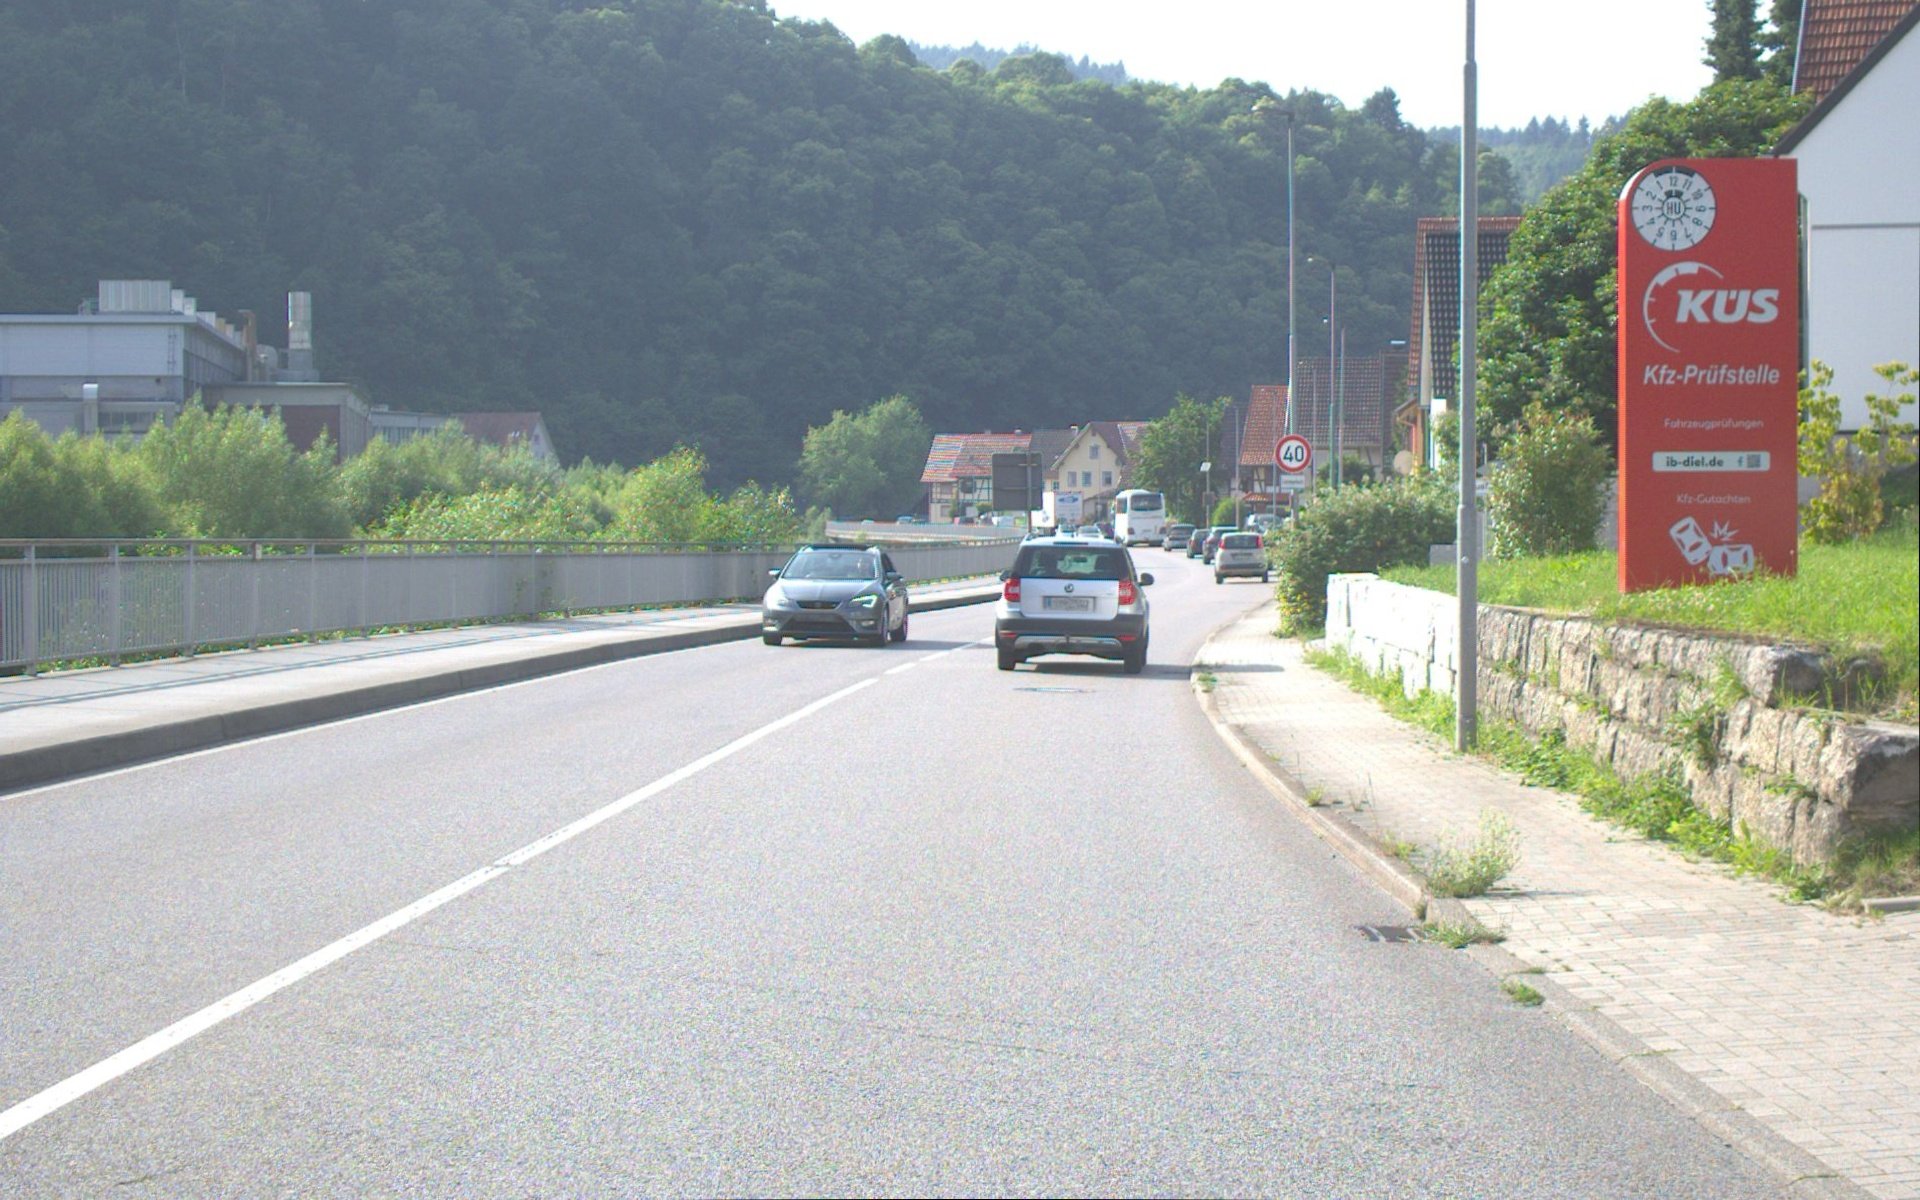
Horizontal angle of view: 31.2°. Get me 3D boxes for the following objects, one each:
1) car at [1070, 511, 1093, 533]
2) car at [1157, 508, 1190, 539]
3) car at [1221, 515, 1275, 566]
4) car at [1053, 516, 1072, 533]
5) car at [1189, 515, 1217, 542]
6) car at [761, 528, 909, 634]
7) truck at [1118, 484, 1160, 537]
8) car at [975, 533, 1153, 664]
[{"bbox_3d":[7.984,-5.152,226.224,1.433,1.379,3.135,0,2,1],"label":"car"},{"bbox_3d":[12.222,-4.389,196.693,1.674,1.746,3.447,0,2,7],"label":"car"},{"bbox_3d":[8.969,-1.840,107.078,1.622,1.536,3.277,0,0,6],"label":"car"},{"bbox_3d":[7.632,-5.624,255.992,1.364,1.273,3.083,0,0,3],"label":"car"},{"bbox_3d":[12.064,-3.543,170.506,1.364,1.273,3.082,0,0,4],"label":"car"},{"bbox_3d":[-1.792,-0.287,50.776,1.813,1.479,4.798,0,0,2],"label":"car"},{"bbox_3d":[11.805,-5.938,226.631,2.729,3.363,6.478,0,2,3],"label":"truck"},{"bbox_3d":[1.354,-0.059,42.883,1.861,1.539,4.372,0,1,6],"label":"car"}]
